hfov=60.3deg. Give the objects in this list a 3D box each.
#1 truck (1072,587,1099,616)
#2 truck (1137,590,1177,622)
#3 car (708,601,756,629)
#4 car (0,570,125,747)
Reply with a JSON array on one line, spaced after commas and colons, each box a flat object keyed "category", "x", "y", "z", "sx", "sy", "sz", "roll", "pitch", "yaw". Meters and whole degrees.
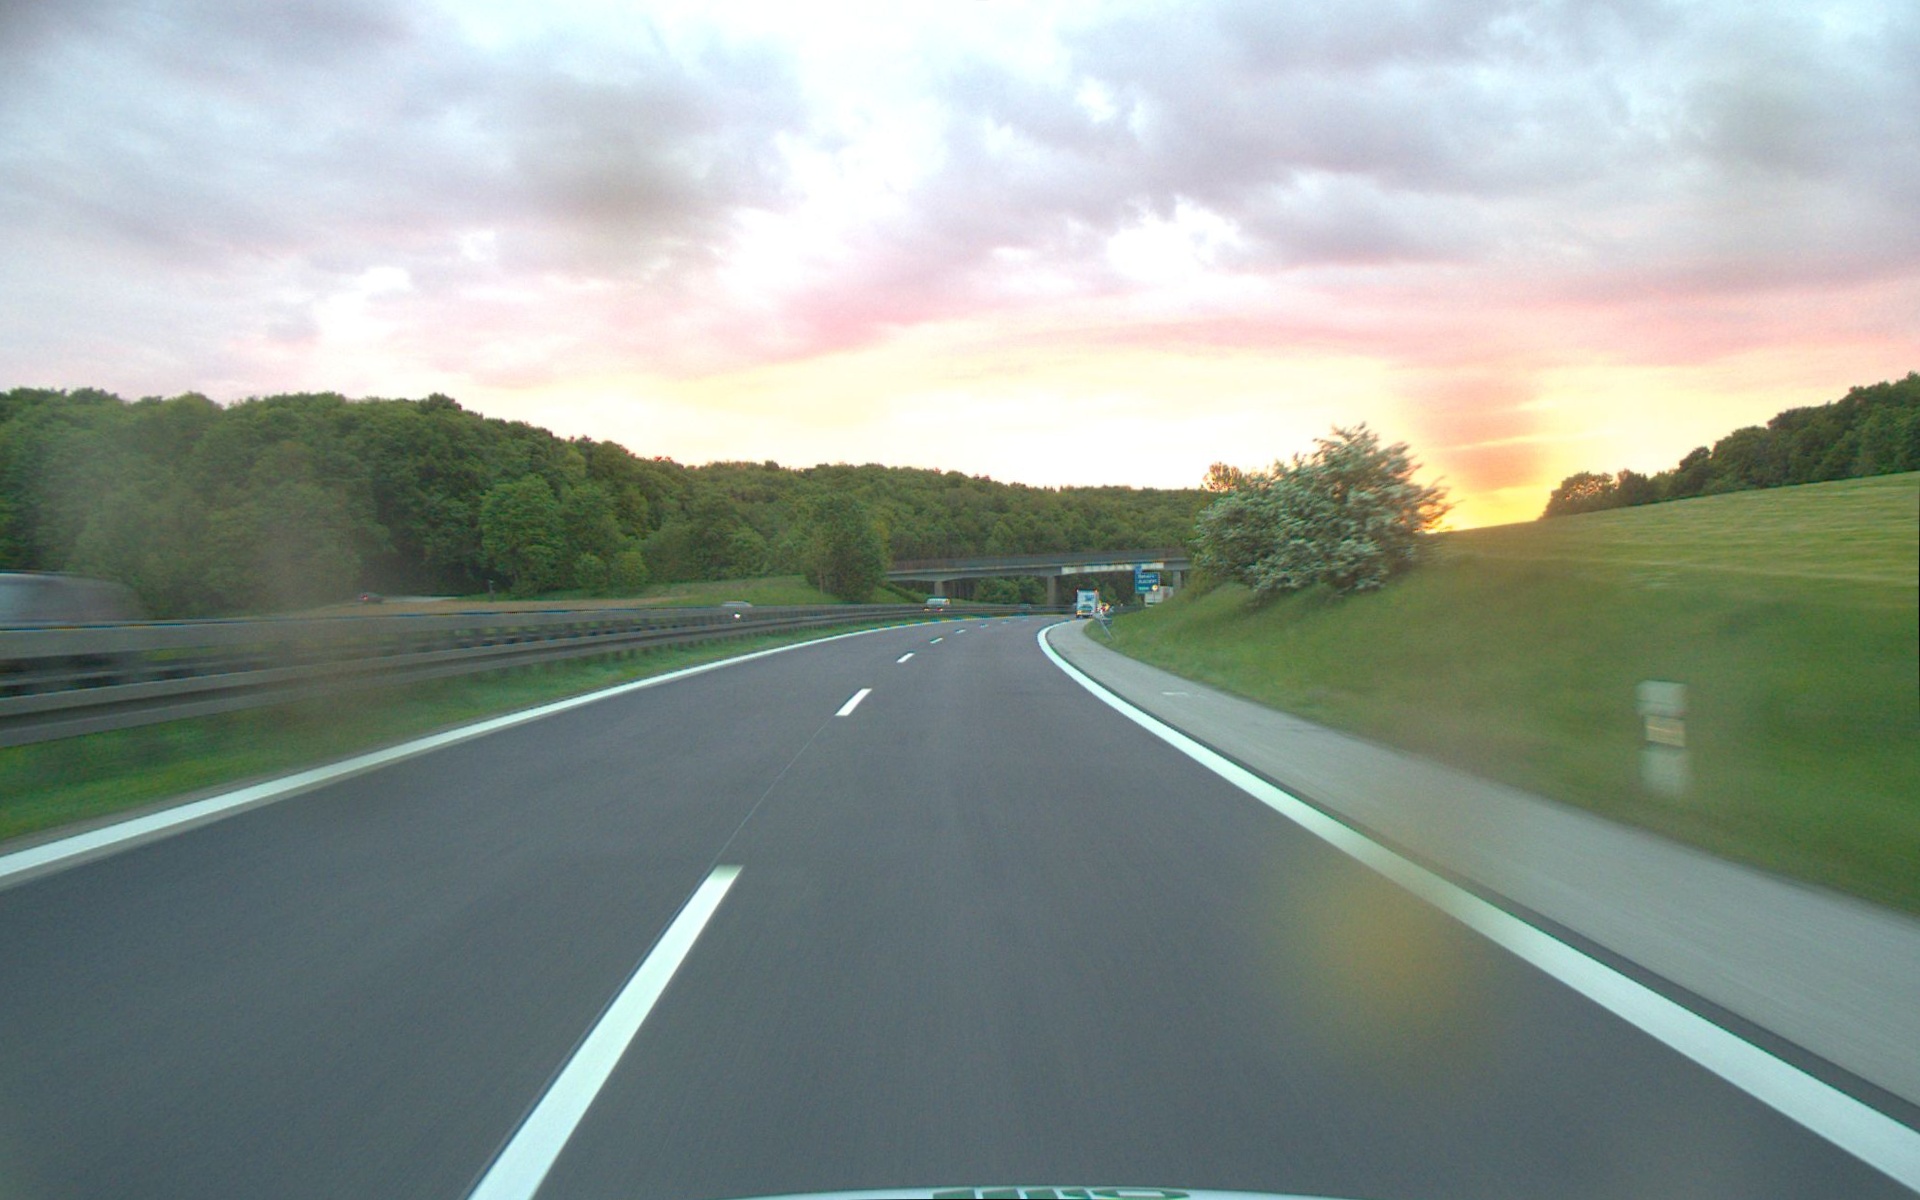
[{"category": "truck", "x": 12.512, "y": 0.144, "z": 165.059, "sx": 2.227, "sy": 2.711, "sz": 5.241, "roll": -1, "pitch": 1, "yaw": 8}, {"category": "truck", "x": 27.806, "y": 0.812, "z": 233.061, "sx": 3.873, "sy": 4.362, "sz": 14.334, "roll": 0, "pitch": 0, "yaw": 14}, {"category": "car", "x": -12.475, "y": 0.815, "z": 90.680, "sx": 1.604, "sy": 1.310, "sz": 3.954, "roll": -3, "pitch": 1, "yaw": 6}, {"category": "car", "x": -10.533, "y": 0.566, "z": 16.631, "sx": 1.953, "sy": 1.757, "sz": 4.768, "roll": 1, "pitch": 0, "yaw": -2}]
